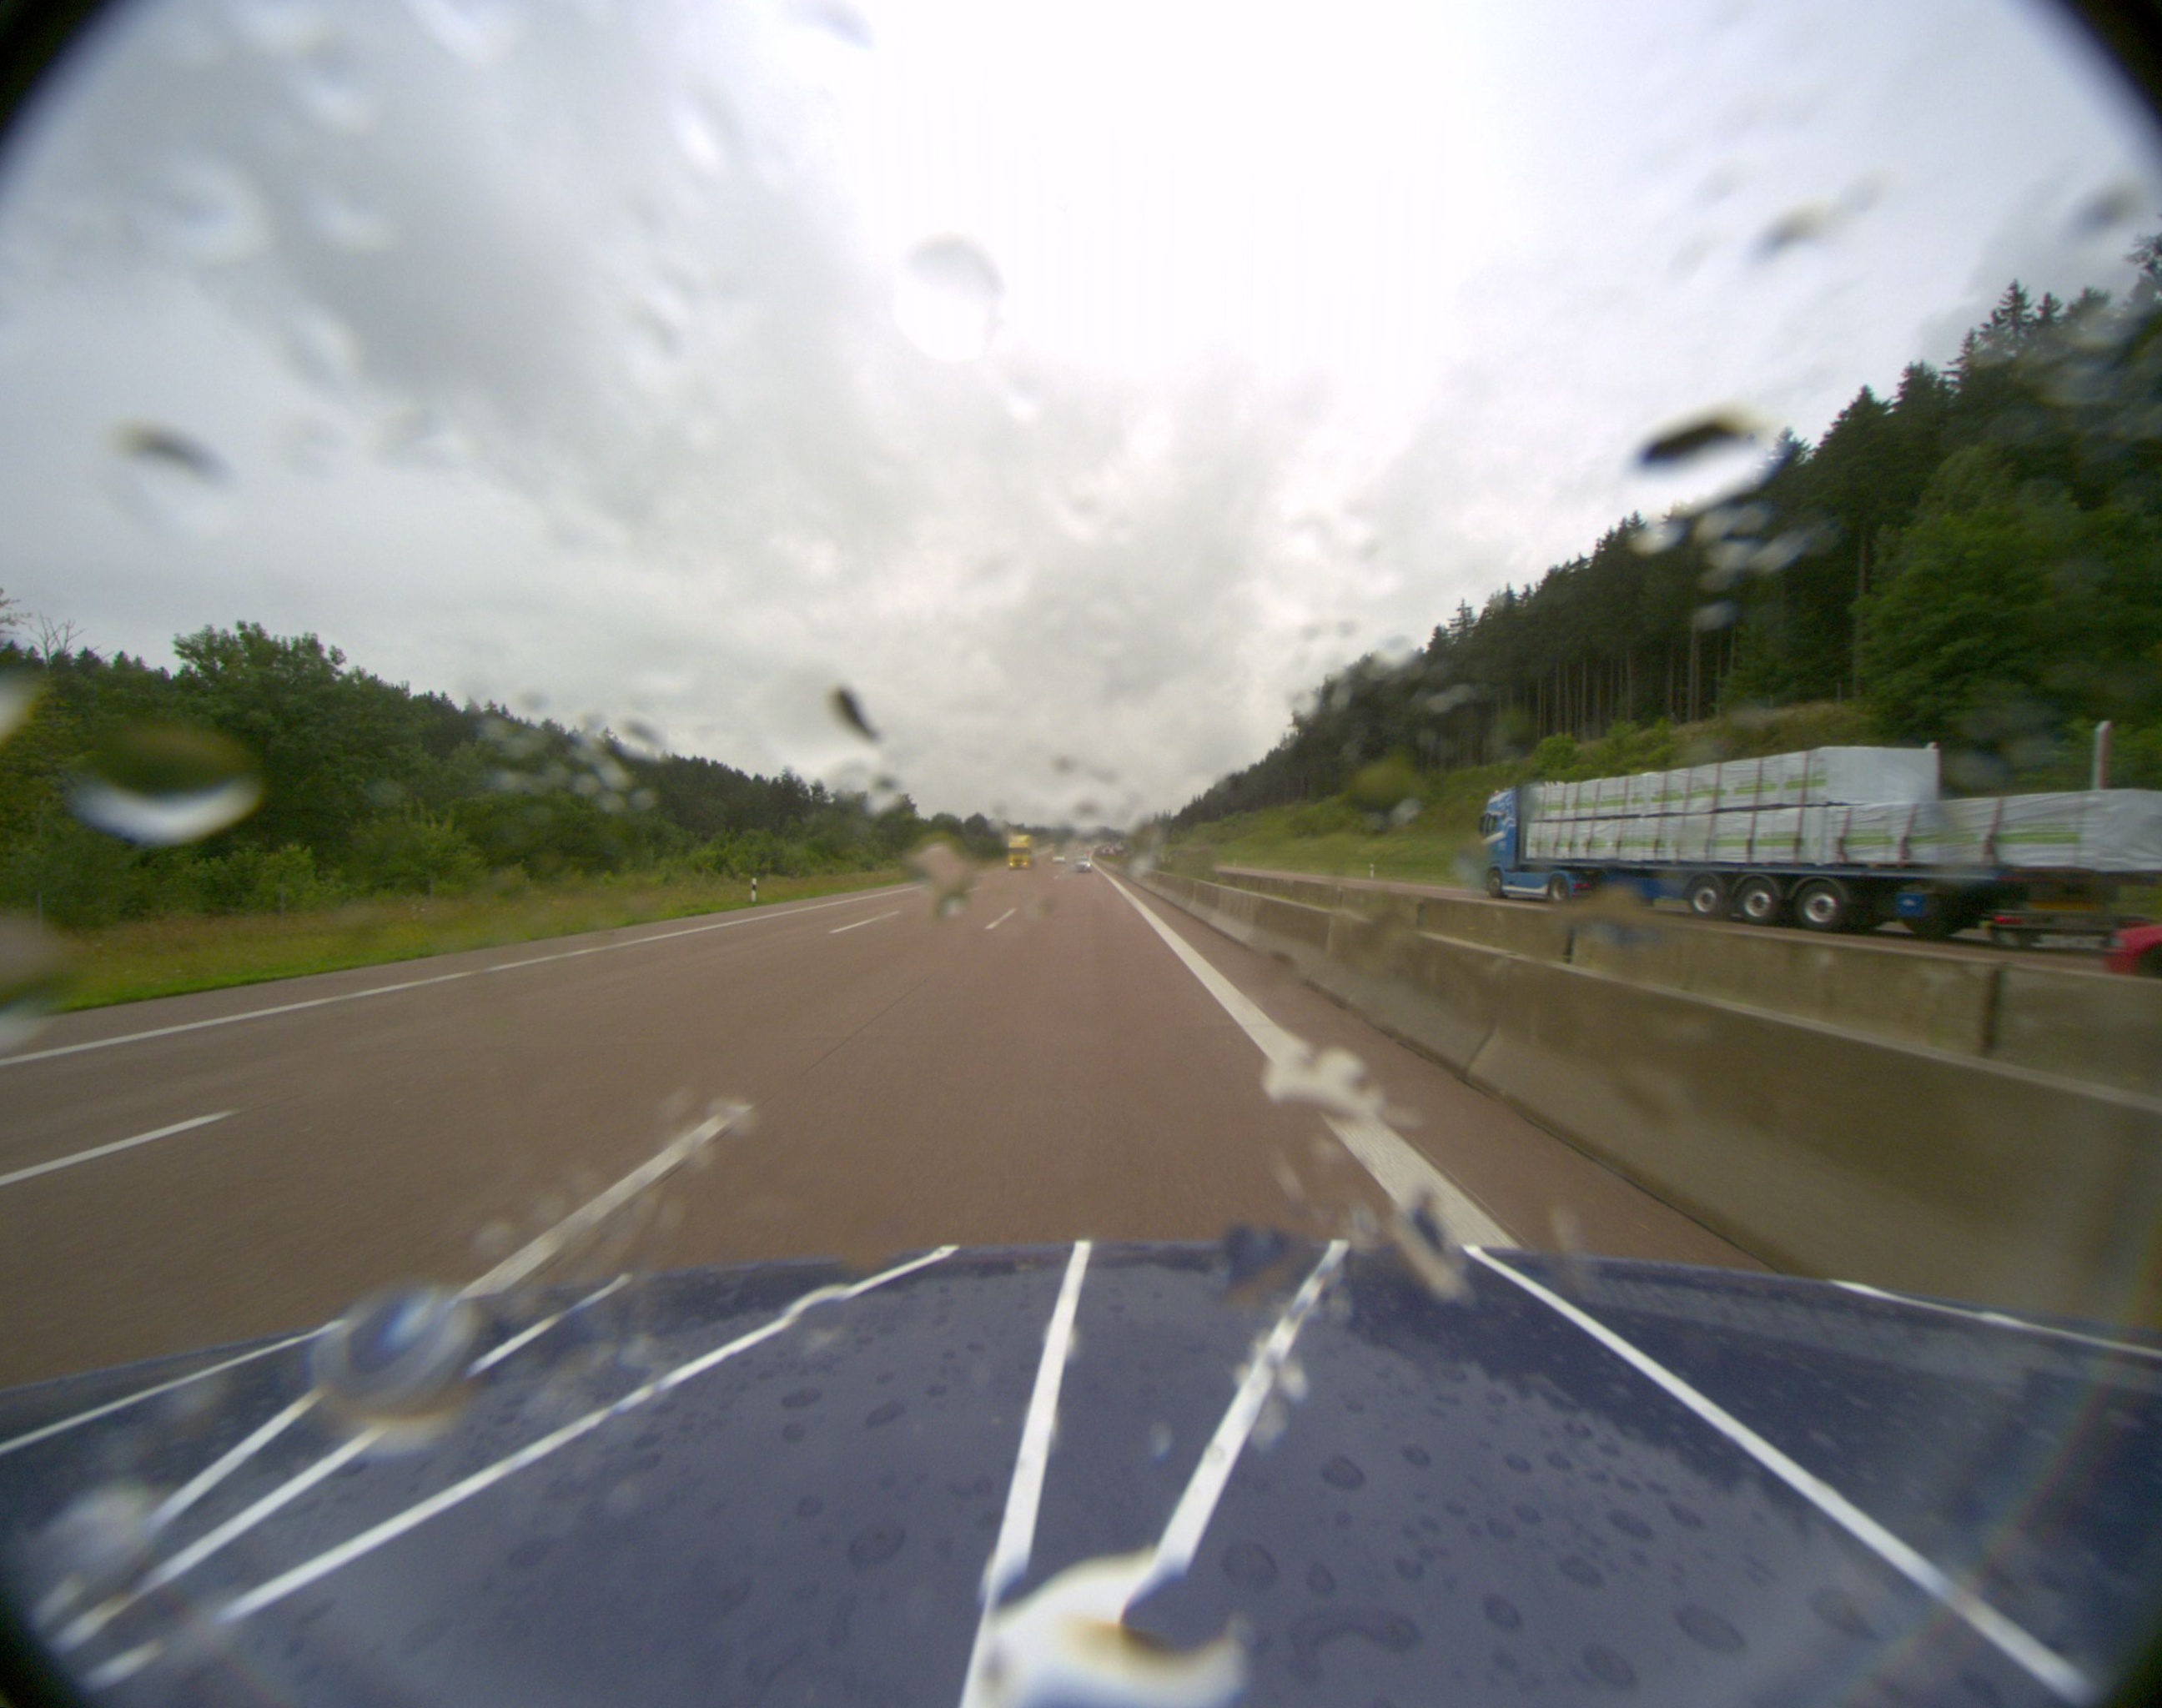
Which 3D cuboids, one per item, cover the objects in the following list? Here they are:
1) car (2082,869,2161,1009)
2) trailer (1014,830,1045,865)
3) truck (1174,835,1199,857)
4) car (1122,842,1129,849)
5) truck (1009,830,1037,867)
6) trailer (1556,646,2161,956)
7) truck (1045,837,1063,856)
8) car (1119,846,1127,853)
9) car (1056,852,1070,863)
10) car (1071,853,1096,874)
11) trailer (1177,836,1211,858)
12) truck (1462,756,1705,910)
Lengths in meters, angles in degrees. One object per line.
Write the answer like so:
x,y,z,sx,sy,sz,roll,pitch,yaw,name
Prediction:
11.617,0.854,5.576,1.823,1.361,5.114,-1,0,0,car
-6.714,-0.955,100.709,2.571,4.205,14.077,-2,1,2,trailer
16.588,-1.313,120.067,2.871,3.154,6.493,-2,2,0,truck
15.487,-2.980,264.310,1.998,2.002,5.672,-2,1,0,car
-6.975,-0.743,91.990,2.610,4.190,6.249,-2,2,2,truck
16.195,-0.642,16.935,2.941,4.250,12.945,2,0,0,trailer
-6.731,-2.033,191.334,3.190,4.349,14.701,-2,1,2,truck
12.116,-1.255,220.501,2.044,2.046,5.068,0,1,0,car
-2.895,0.493,126.478,1.998,1.623,4.930,-2,1,2,car
0.265,0.831,68.090,1.998,1.623,4.930,-2,1,2,car
16.609,-1.109,112.827,2.846,2.981,14.431,-2,1,0,trailer
16.245,-0.554,25.510,2.972,4.295,7.649,2,0,0,truck
